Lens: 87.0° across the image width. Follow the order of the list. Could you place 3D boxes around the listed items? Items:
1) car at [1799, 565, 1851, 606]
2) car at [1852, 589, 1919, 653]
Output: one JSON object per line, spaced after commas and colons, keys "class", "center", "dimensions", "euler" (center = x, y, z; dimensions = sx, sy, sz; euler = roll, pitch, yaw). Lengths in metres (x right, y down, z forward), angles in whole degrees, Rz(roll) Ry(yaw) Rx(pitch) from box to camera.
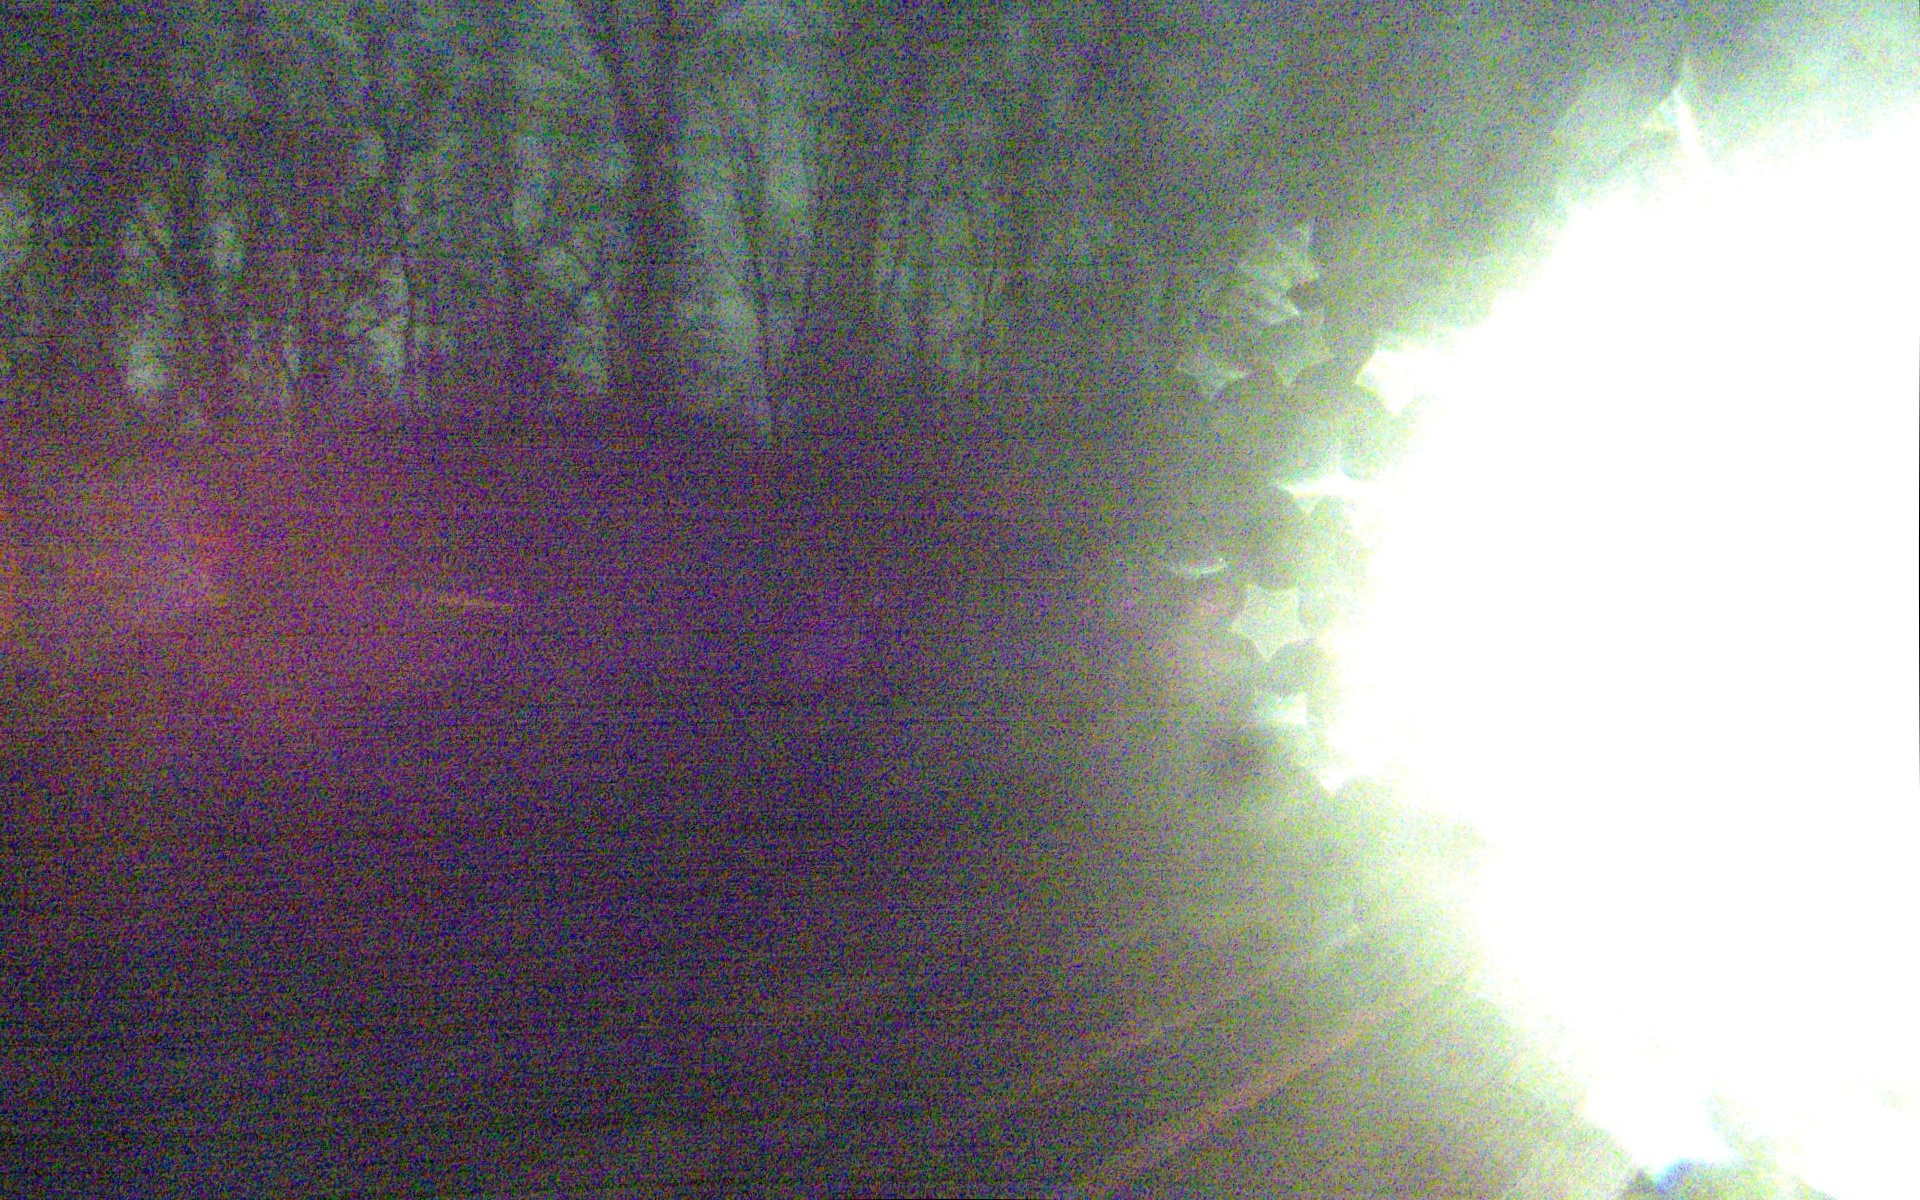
{"class": "car", "center": [45.389, -0.747, 53.163], "dimensions": [1.991, 2.039, 3.942], "euler": [1, 1, 40]}
{"class": "car", "center": [27.777, 0.586, 29.902], "dimensions": [1.889, 1.631, 3.937], "euler": [4, 4, 44]}
